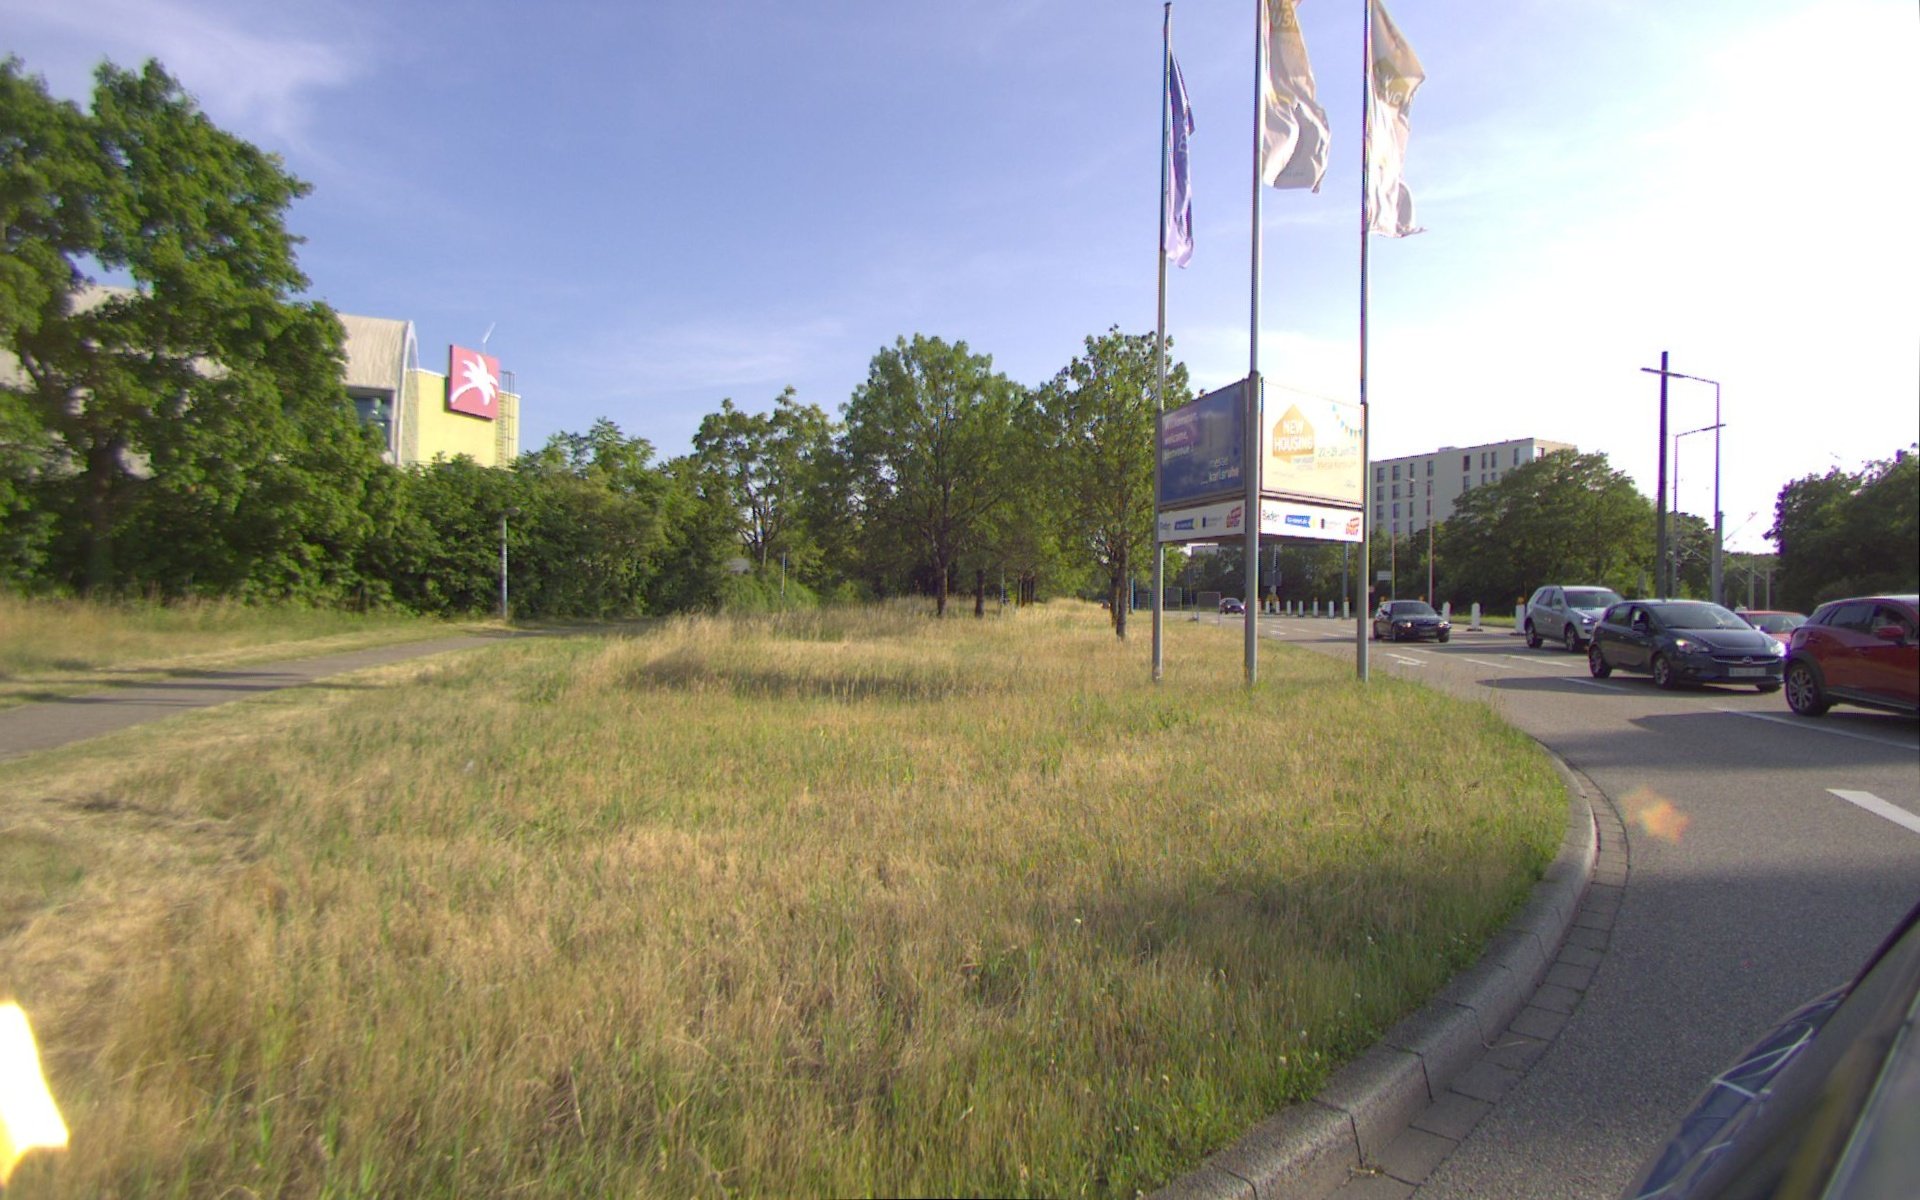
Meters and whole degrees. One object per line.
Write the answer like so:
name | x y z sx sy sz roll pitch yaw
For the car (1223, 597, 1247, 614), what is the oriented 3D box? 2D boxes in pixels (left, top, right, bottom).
car | 25.623 0.464 94.514 1.866 1.474 3.897 1 1 11

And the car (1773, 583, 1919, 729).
car | 11.213 0.607 11.253 1.685 1.571 3.965 1 0 11

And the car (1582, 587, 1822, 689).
car | 12.599 0.570 17.551 1.720 1.524 4.208 0 0 11

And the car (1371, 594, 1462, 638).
car | 15.814 0.520 35.272 1.872 1.403 4.342 -1 0 11

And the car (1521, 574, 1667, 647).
car | 17.552 0.275 28.284 1.871 1.847 4.344 -1 0 9

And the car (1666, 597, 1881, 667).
car | 15.862 0.571 20.015 1.710 1.222 3.833 -1 0 12
